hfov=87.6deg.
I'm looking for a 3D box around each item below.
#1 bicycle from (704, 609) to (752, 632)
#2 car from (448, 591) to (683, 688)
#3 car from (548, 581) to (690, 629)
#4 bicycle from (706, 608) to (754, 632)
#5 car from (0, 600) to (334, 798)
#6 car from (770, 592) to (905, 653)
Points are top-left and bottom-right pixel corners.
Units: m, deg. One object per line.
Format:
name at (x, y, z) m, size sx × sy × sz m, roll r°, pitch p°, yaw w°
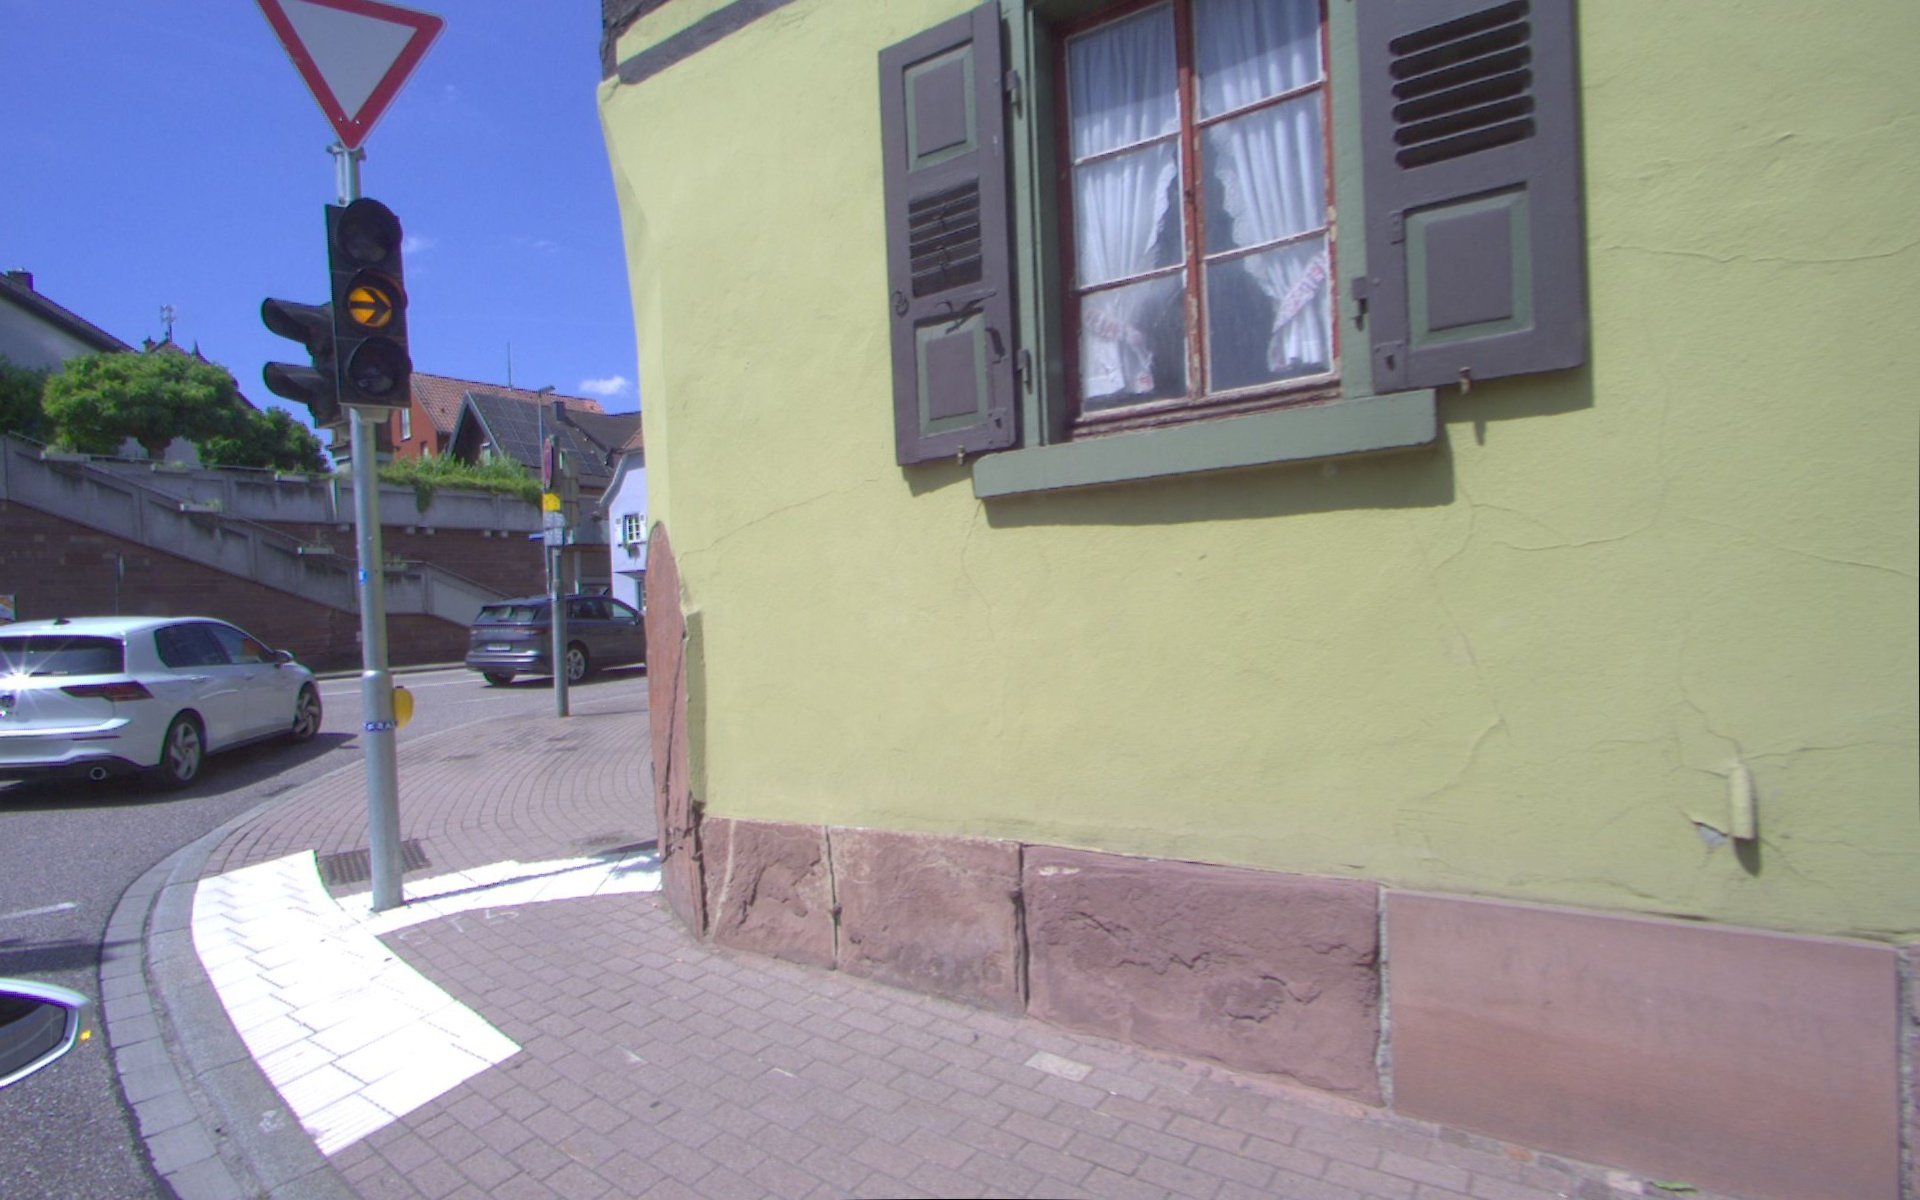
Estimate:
bicycle at (-9.369, 0.828, 40.451) m, size 1.793 × 0.911 × 0.646 m, roll -1°, pitch 1°, yaw -23°
car at (-7.389, 0.655, 19.285) m, size 1.920 × 1.604 × 4.317 m, roll 0°, pitch 1°, yaw 17°
car at (-16.242, 0.199, 48.010) m, size 2.497 × 2.040 × 5.944 m, roll -3°, pitch -1°, yaw 41°
bicycle at (-9.134, 0.796, 39.831) m, size 1.793 × 0.911 × 0.621 m, roll -1°, pitch 1°, yaw -22°
car at (-7.651, 0.778, 9.474) m, size 1.756 × 1.477 × 3.858 m, roll -2°, pitch 0°, yaw -14°
car at (-3.138, 0.544, 26.354) m, size 1.759 × 1.477 × 3.850 m, roll -1°, pitch 0°, yaw 24°
